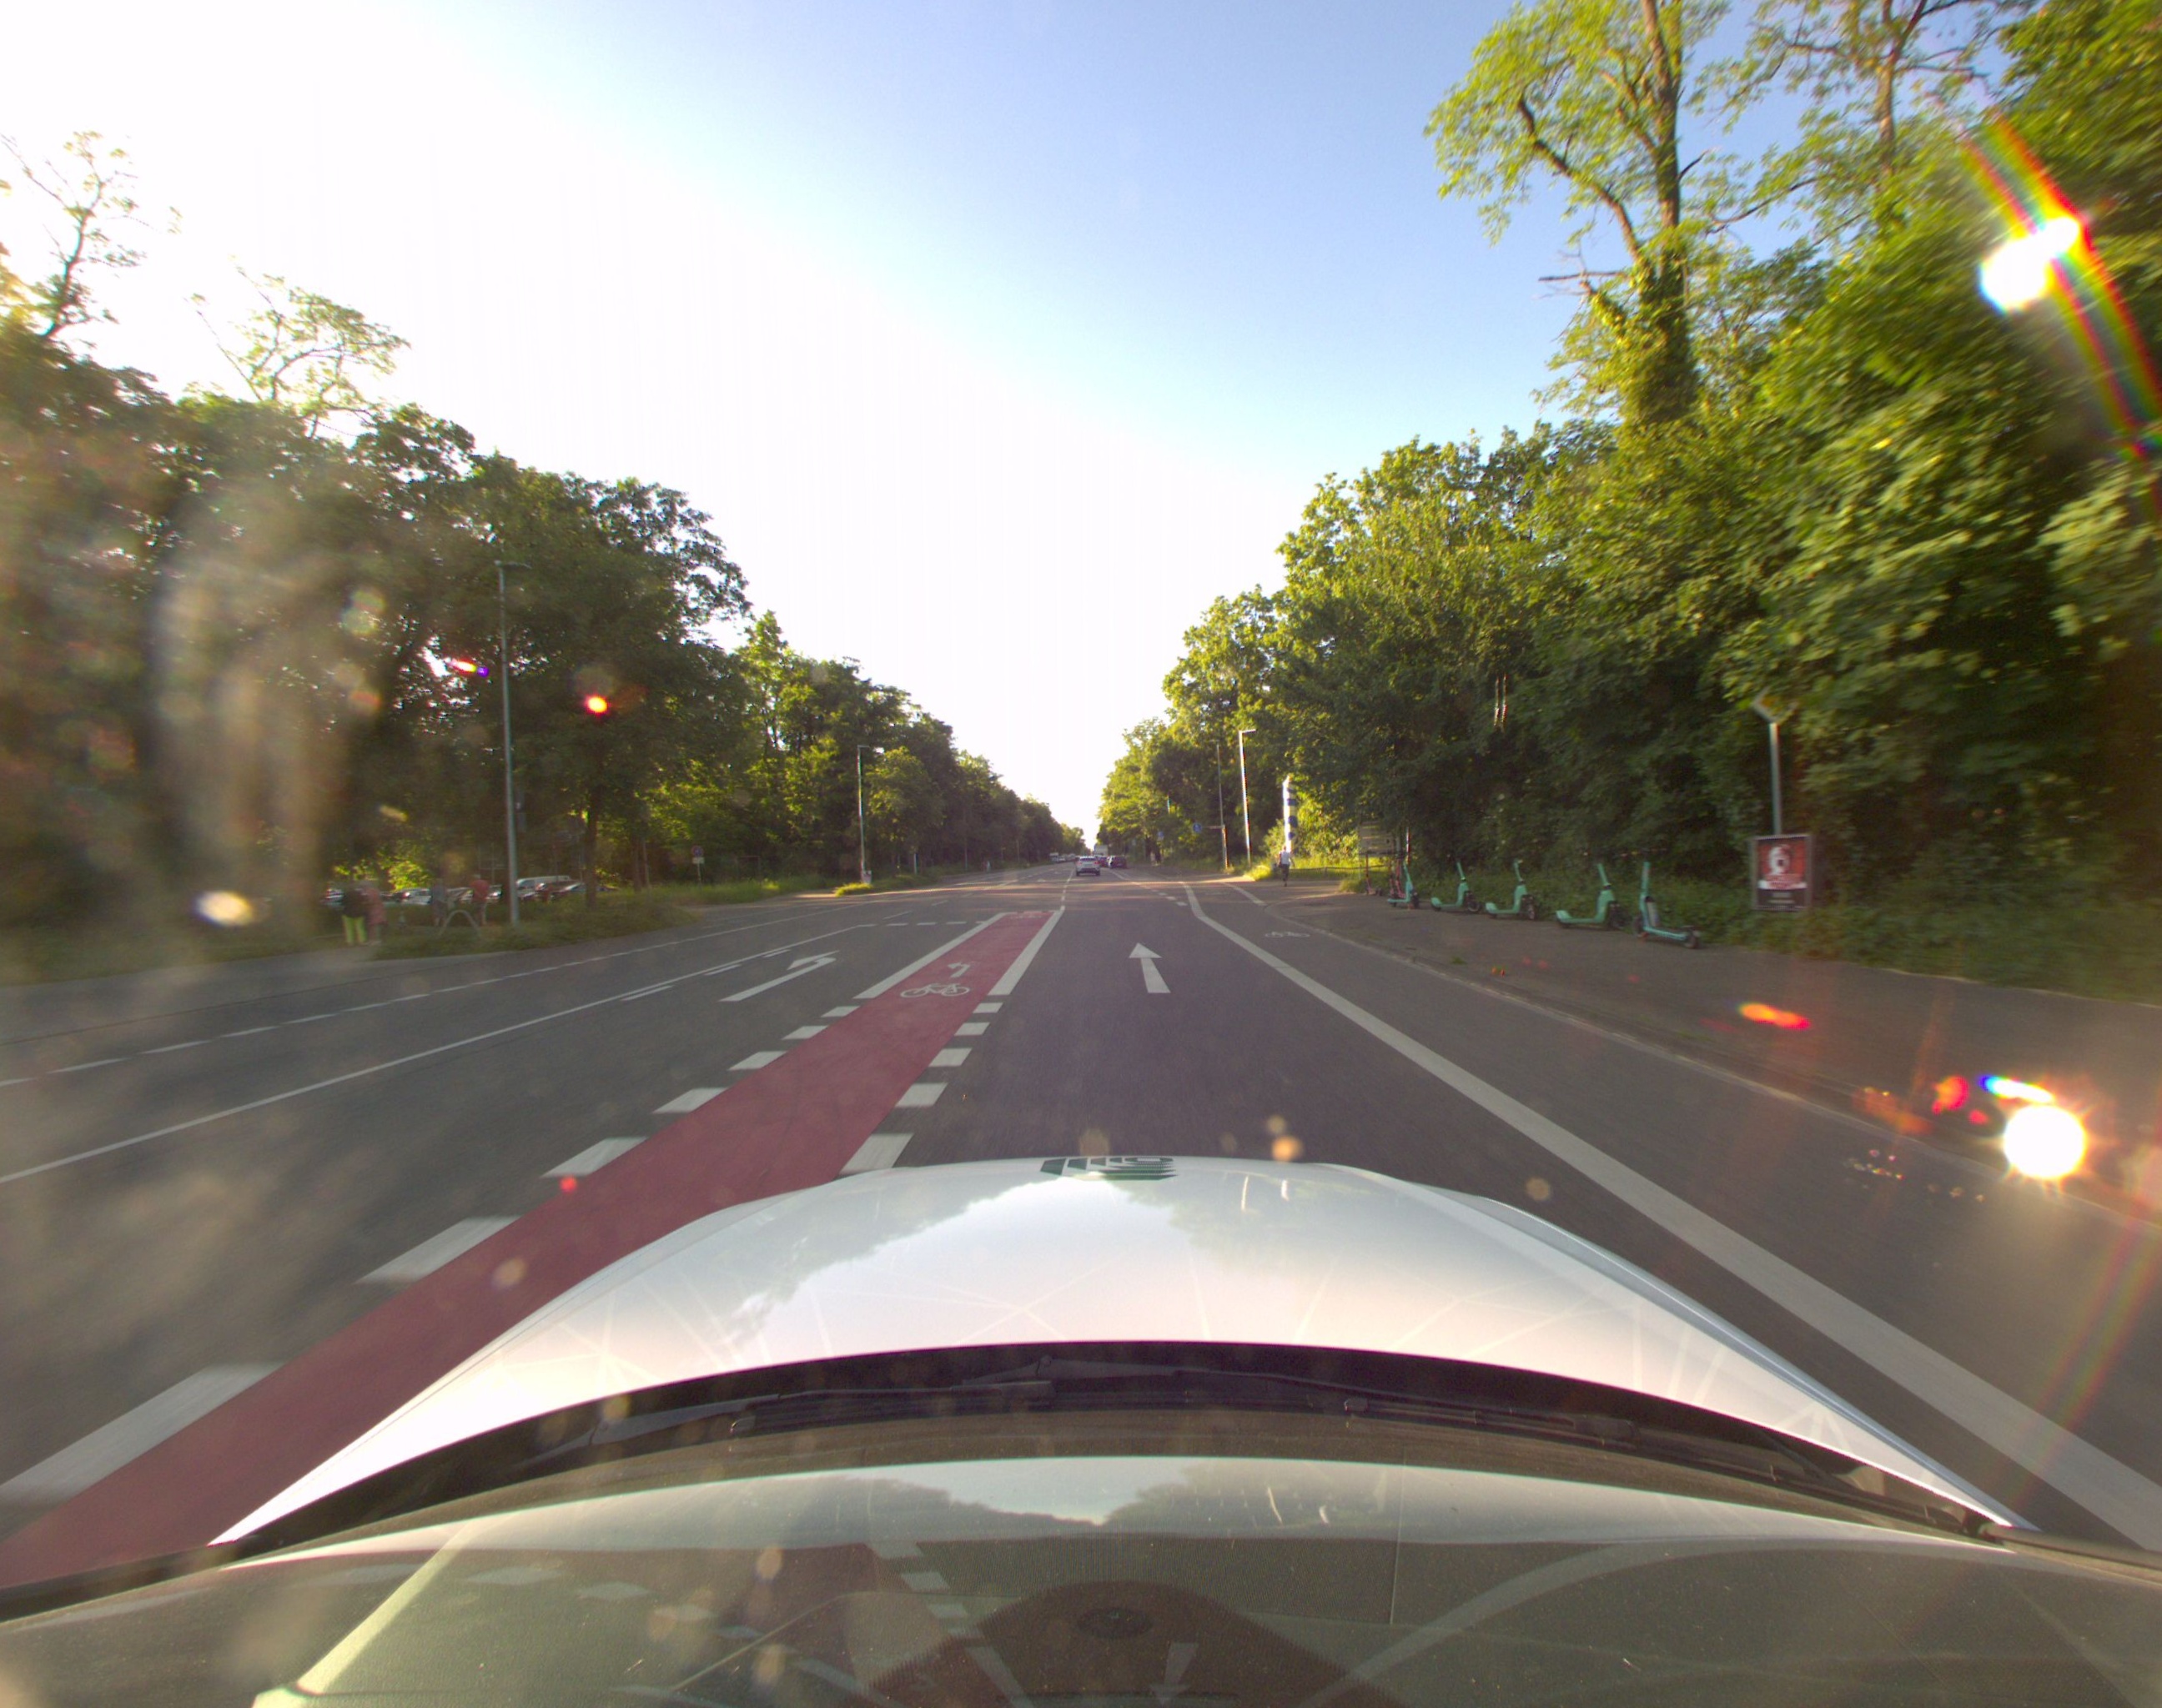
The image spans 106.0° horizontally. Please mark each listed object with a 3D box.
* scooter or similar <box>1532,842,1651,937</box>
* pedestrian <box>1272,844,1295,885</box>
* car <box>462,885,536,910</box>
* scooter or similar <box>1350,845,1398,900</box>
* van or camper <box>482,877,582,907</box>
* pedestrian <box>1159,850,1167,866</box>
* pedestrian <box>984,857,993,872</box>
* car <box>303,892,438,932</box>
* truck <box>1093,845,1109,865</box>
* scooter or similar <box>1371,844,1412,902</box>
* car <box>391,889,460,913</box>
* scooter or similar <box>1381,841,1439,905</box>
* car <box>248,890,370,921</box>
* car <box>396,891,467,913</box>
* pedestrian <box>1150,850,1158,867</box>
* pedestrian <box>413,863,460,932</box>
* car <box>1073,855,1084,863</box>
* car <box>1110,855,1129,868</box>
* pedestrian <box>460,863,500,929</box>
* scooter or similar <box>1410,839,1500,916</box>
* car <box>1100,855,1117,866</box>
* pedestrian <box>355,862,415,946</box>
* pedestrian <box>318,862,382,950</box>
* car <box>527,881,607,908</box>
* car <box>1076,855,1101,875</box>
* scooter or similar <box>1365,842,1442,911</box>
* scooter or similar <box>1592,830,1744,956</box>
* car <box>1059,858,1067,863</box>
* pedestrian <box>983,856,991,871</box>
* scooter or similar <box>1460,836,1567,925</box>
[{"bbox_3d":[7.551,0.502,12.116,0.467,1.306,1.471,-2,0,-20],"label":"scooter or similar"},{"bbox_3d":[8.086,0.411,32.570,0.751,1.563,0.804,-3,0,6],"label":"pedestrian"},{"bbox_3d":[-42.015,3.134,58.885,1.652,1.466,4.025,-3,0,28],"label":"car"},{"bbox_3d":[8.003,0.479,22.326,0.679,1.423,1.682,-3,0,2],"label":"scooter or similar"},{"bbox_3d":[-38.365,2.678,57.122,1.974,2.014,5.451,-2,-3,31],"label":"van or camper"},{"bbox_3d":[8.695,0.431,86.074,0.741,1.599,0.798,-3,0,1],"label":"pedestrian"},{"bbox_3d":[-12.861,1.458,113.193,0.827,2.013,1.270,-3,0,3],"label":"pedestrian"},{"bbox_3d":[-33.850,2.731,38.928,1.974,1.481,4.442,-3,0,33],"label":"car"},{"bbox_3d":[3.641,0.111,152.288,2.790,3.570,8.033,-1,0,0],"label":"truck"},{"bbox_3d":[7.912,0.473,20.787,0.678,1.423,1.249,-3,0,10],"label":"scooter or similar"},{"bbox_3d":[-55.282,3.960,68.777,1.974,1.739,4.025,-3,0,30],"label":"car"},{"bbox_3d":[7.764,0.439,19.276,0.679,1.423,1.682,-3,0,2],"label":"scooter or similar"},{"bbox_3d":[-41.865,2.756,44.282,1.974,1.314,4.442,-3,0,33],"label":"car"},{"bbox_3d":[-51.378,3.779,64.510,1.652,1.466,4.025,-3,0,28],"label":"car"},{"bbox_3d":[7.683,0.472,86.063,0.696,1.653,0.876,-3,0,1],"label":"pedestrian"},{"bbox_3d":[-19.515,1.317,24.664,0.710,2.013,0.880,-3,0,32],"label":"pedestrian"},{"bbox_3d":[-0.548,1.032,160.221,1.986,1.519,4.002,-3,0,2],"label":"car"},{"bbox_3d":[4.310,0.811,92.787,1.987,1.327,4.001,-3,0,1],"label":"car"},{"bbox_3d":[-18.783,1.303,25.459,0.710,2.013,0.752,-3,0,32],"label":"pedestrian"},{"bbox_3d":[7.440,0.453,16.290,0.683,1.423,1.673,-2,0,-14],"label":"scooter or similar"},{"bbox_3d":[3.679,0.871,108.504,1.988,1.327,3.997,-3,0,-2],"label":"car"},{"bbox_3d":[-17.295,1.223,20.249,0.712,2.013,0.799,-3,-1,10],"label":"pedestrian"},{"bbox_3d":[-17.447,1.226,19.448,0.712,2.013,0.799,-3,0,11],"label":"pedestrian"},{"bbox_3d":[-34.355,2.666,54.511,1.974,1.526,4.026,-3,0,35],"label":"car"},{"bbox_3d":[0.539,0.849,63.319,1.757,1.459,3.815,-1,0,-2],"label":"car"},{"bbox_3d":[7.084,0.474,17.977,0.683,1.423,1.673,-2,0,-14],"label":"scooter or similar"},{"bbox_3d":[7.320,0.449,10.266,0.679,1.423,1.682,-3,0,1],"label":"scooter or similar"},{"bbox_3d":[-5.300,1.924,239.349,1.987,1.327,3.999,-3,0,0],"label":"car"},{"bbox_3d":[-13.141,1.352,113.518,0.860,2.013,1.270,-2,-1,3],"label":"pedestrian"},{"bbox_3d":[7.499,0.444,14.216,0.682,1.423,1.674,-2,0,-12],"label":"scooter or similar"}]
